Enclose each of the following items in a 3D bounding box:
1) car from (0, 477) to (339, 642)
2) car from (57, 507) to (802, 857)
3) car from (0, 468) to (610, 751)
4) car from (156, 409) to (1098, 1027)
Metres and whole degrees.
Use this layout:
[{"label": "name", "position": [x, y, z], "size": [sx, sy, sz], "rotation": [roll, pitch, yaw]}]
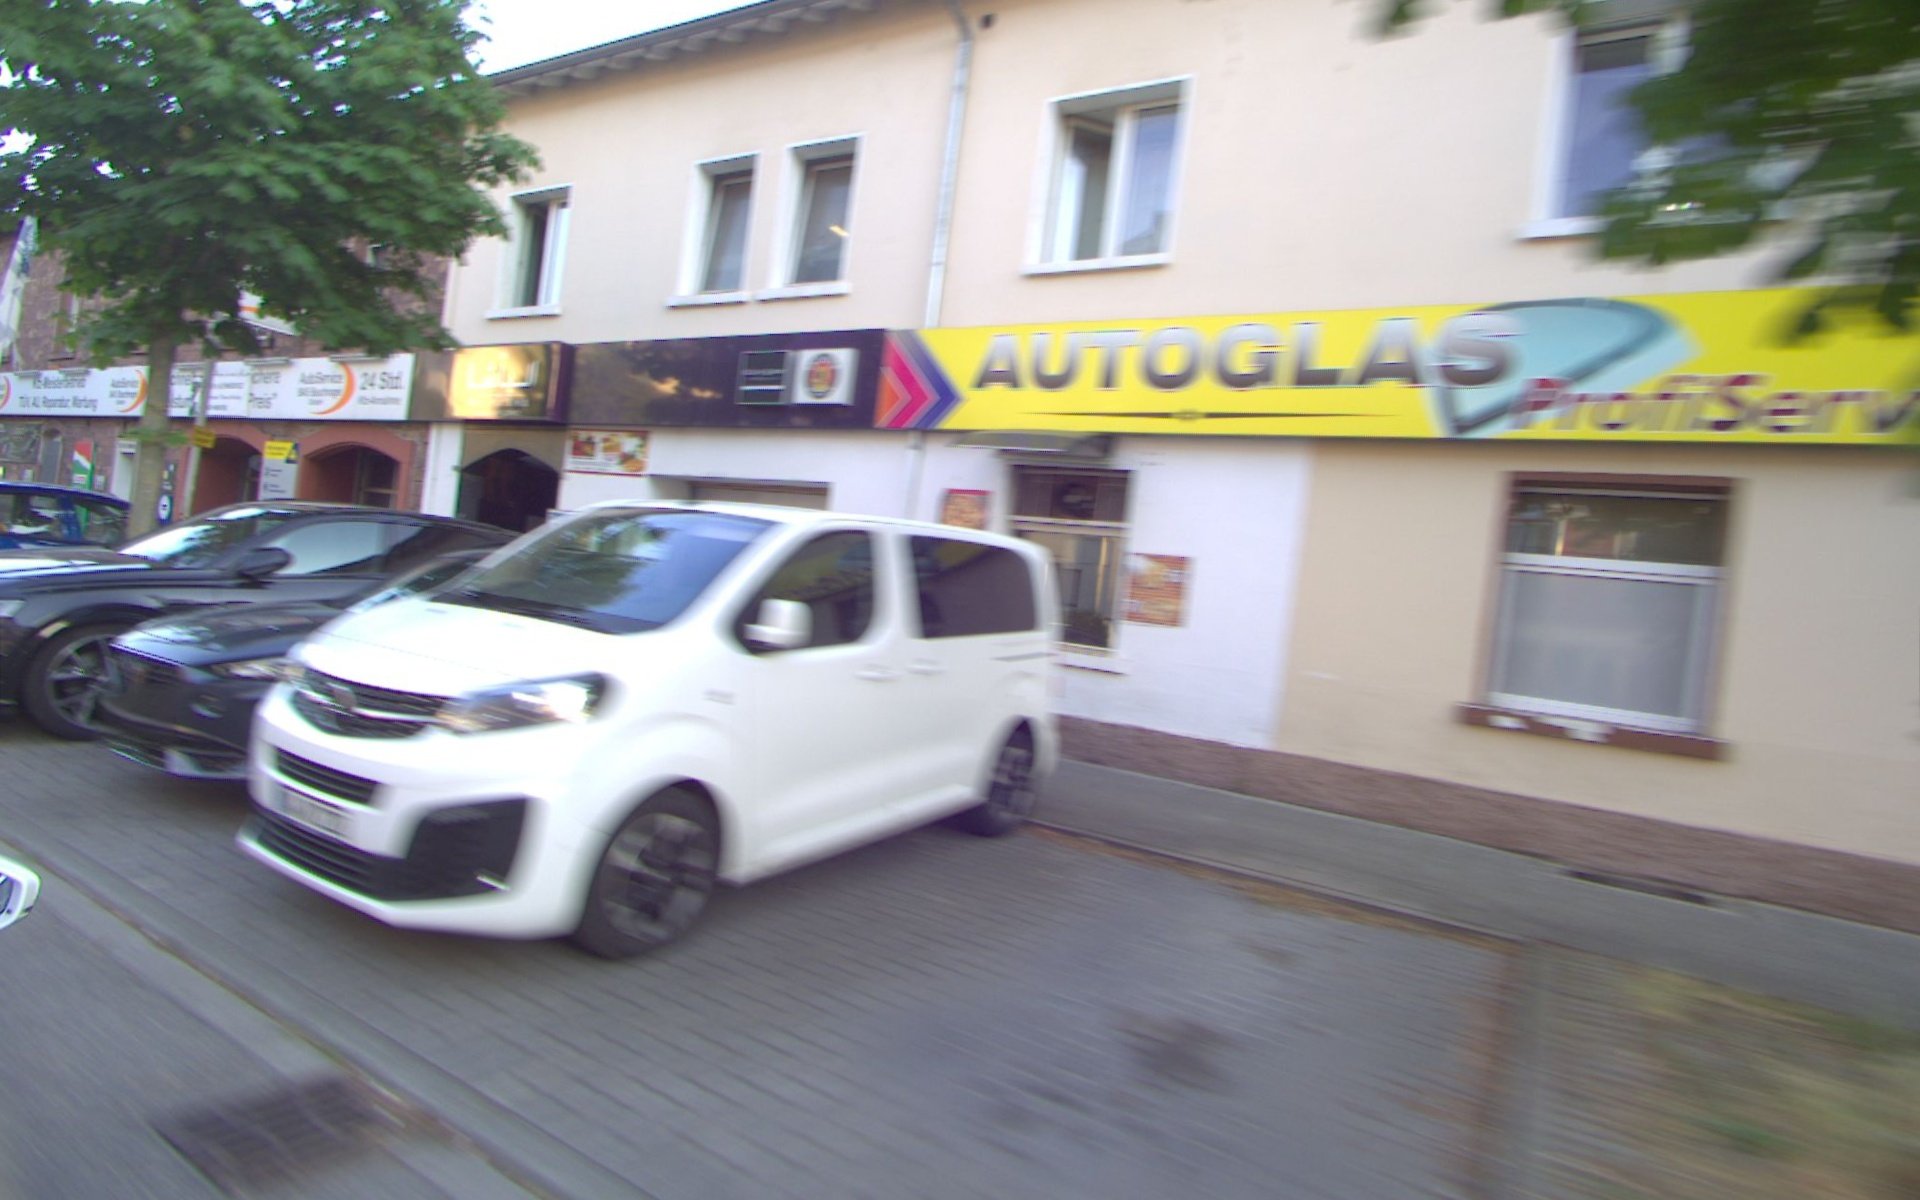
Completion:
[{"label": "car", "position": [-9.331, -0.443, 10.904], "size": [1.814, 1.566, 3.988], "rotation": [7, 2, 30]}, {"label": "car", "position": [-3.132, 0.373, 6.748], "size": [1.861, 1.516, 3.986], "rotation": [7, 3, 32]}, {"label": "car", "position": [-5.400, 0.007, 7.970], "size": [1.967, 1.653, 4.694], "rotation": [7, 3, 32]}, {"label": "car", "position": [-1.181, 0.371, 5.519], "size": [1.979, 1.886, 4.589], "rotation": [7, 1, 32]}]
